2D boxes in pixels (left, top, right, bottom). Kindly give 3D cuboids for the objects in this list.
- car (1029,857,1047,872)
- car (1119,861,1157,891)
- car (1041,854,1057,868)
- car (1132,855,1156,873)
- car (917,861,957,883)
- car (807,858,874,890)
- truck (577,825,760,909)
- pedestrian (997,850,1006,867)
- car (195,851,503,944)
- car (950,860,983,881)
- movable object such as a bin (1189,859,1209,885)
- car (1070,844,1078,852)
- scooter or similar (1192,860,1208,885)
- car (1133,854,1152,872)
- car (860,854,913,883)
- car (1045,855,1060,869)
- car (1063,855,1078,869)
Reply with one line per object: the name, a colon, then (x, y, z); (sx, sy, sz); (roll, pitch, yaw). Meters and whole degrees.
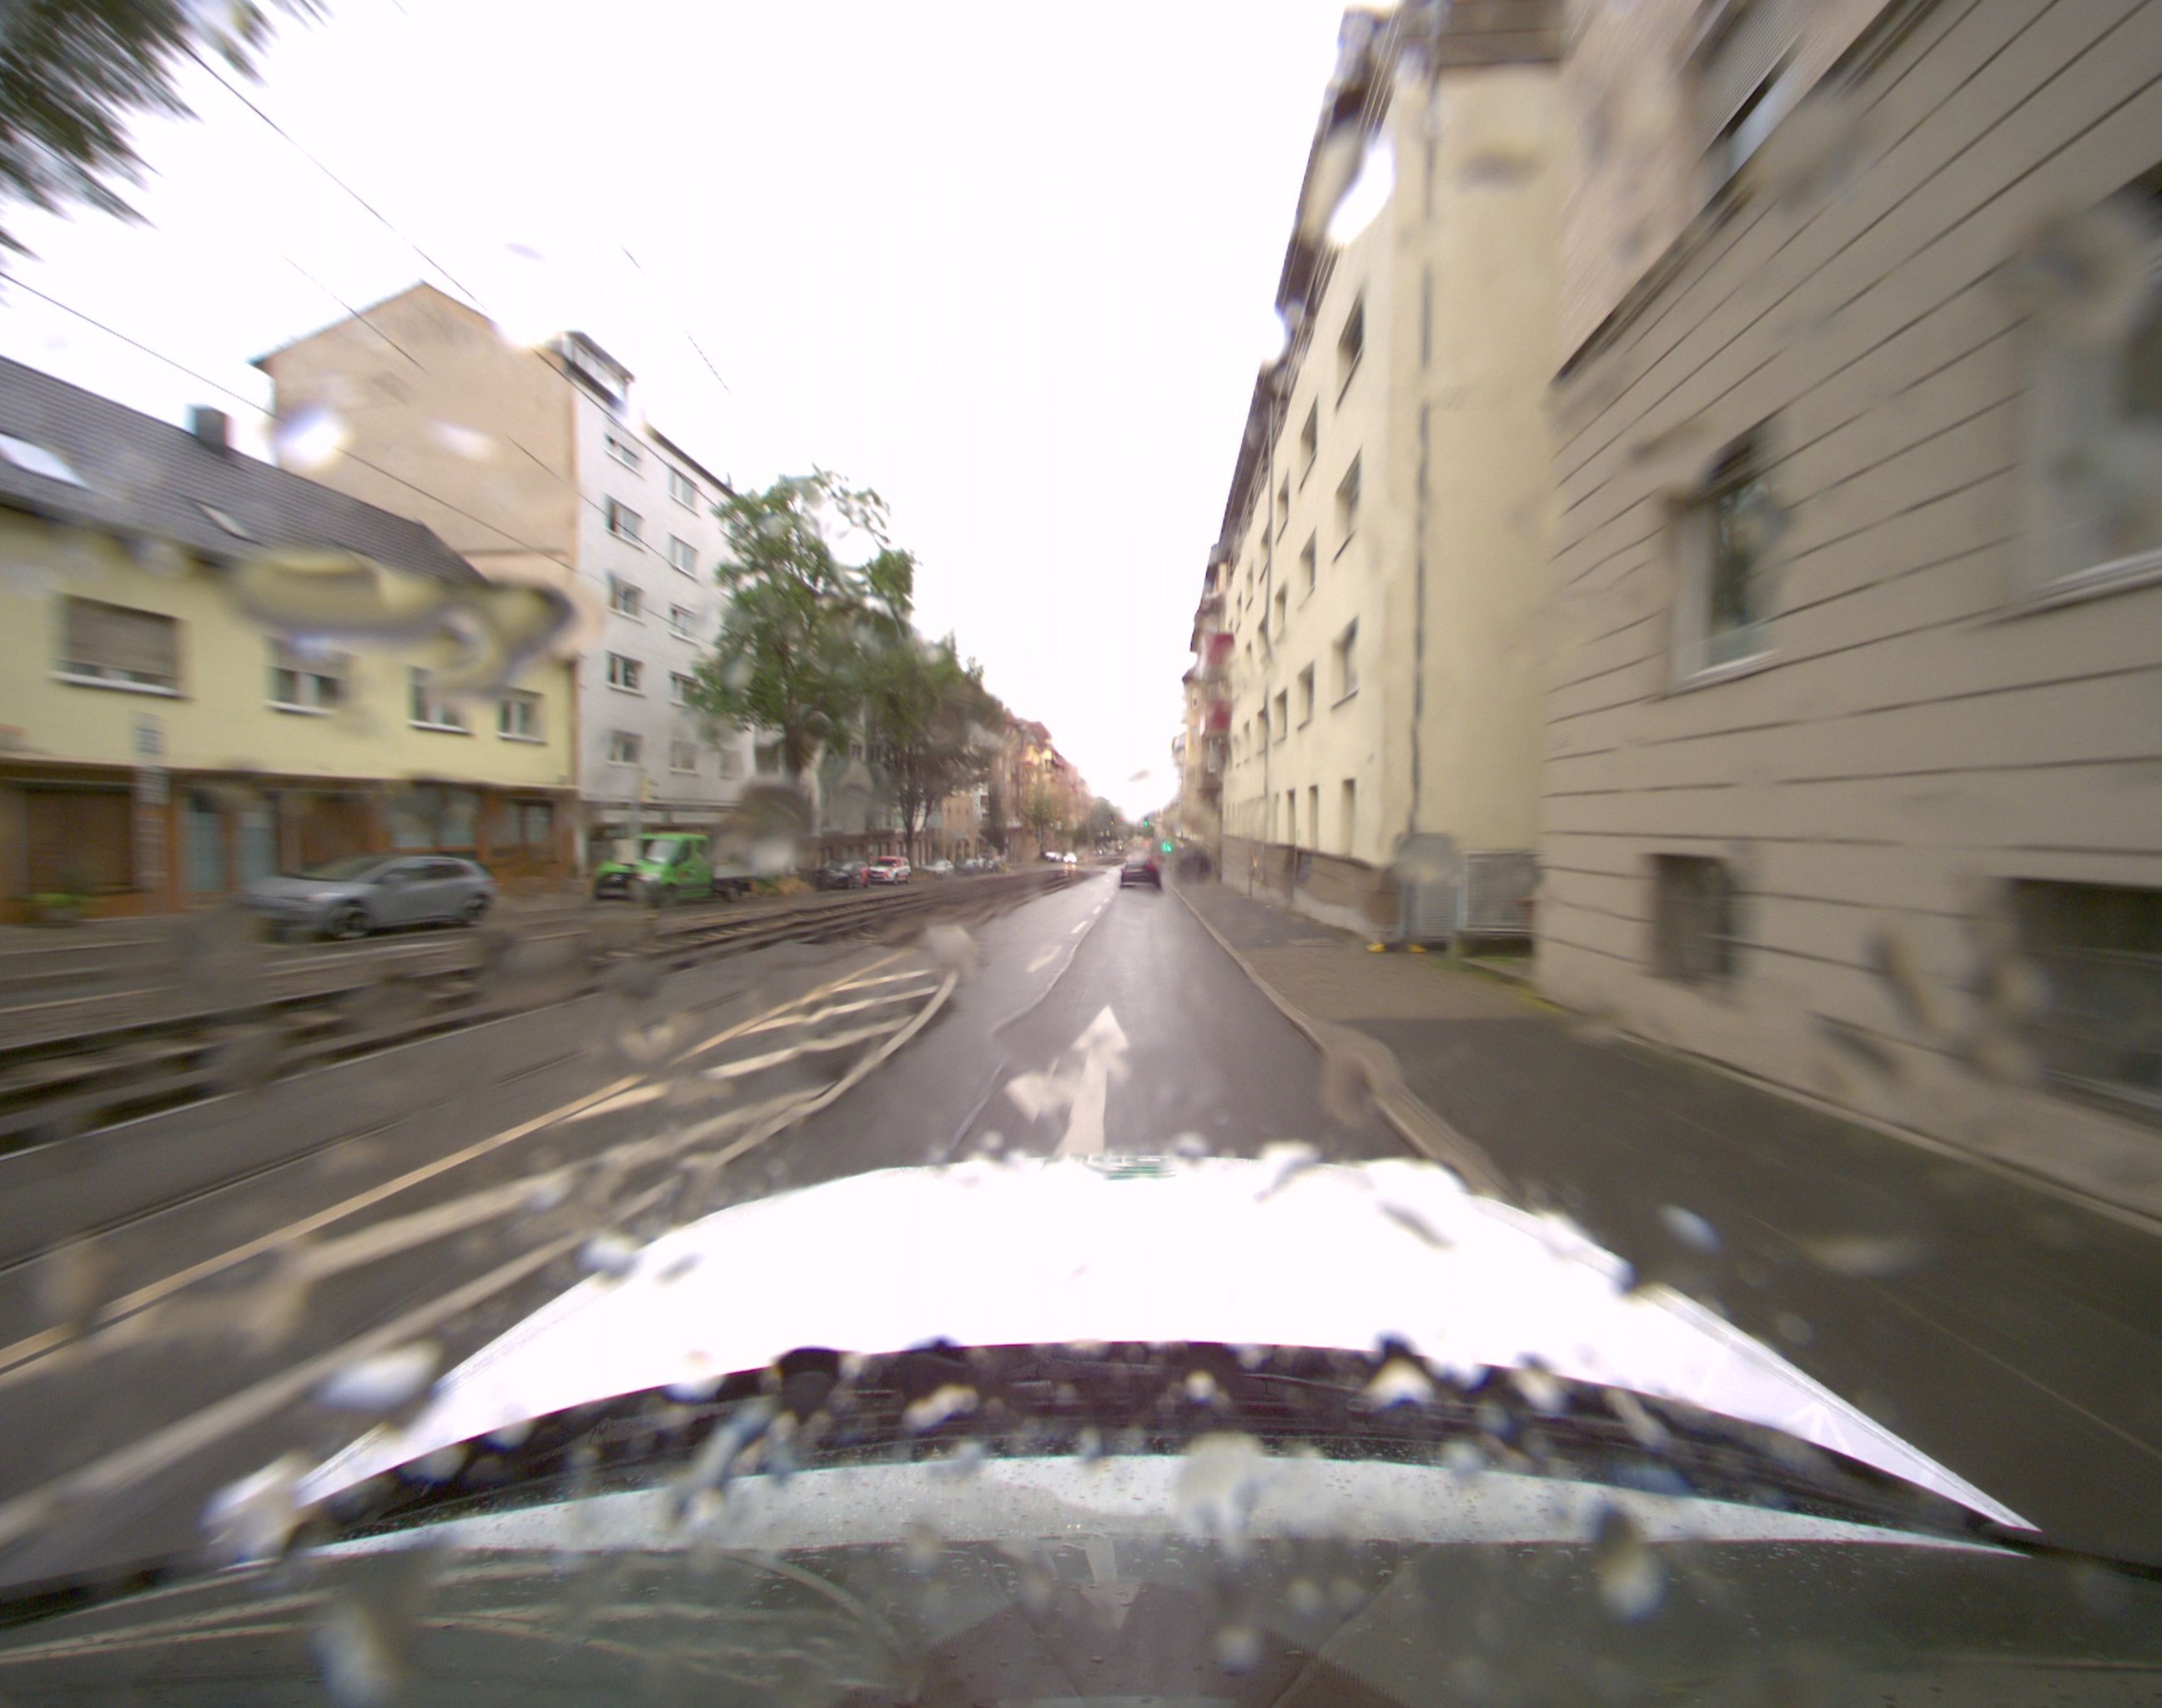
car: (-5.930, 1.492, 113.573); (1.985, 2.014, 4.349); (-1, -2, 3)
car: (2.907, 1.084, 41.994); (1.844, 1.473, 4.003); (0, 0, 3)
car: (-4.826, 1.147, 123.573); (1.985, 2.014, 4.349); (-1, -2, 3)
car: (5.171, 0.847, 67.231); (1.844, 1.473, 4.002); (1, -1, 2)
car: (-10.327, 1.285, 58.817); (1.765, 1.488, 4.260); (-2, -1, 5)
car: (-11.798, 0.959, 40.173); (1.765, 1.453, 4.259); (-2, -1, 4)
truck: (-12.970, 0.424, 26.290); (2.040, 2.393, 6.333); (0, -1, 7)
pedestrian: (-9.308, 0.550, 95.484); (0.868, 2.014, 0.705); (-1, -2, 2)
car: (-14.124, 0.745, 16.168); (1.718, 1.515, 4.502); (2, 0, 5)
car: (-9.459, 1.361, 67.476); (1.765, 1.619, 4.260); (-2, -1, 5)
movable object such as a bin: (7.920, 1.199, 54.713); (1.164, 1.655, 1.309); (-1, -1, 0)
car: (-1.809, -1.619, 208.161); (1.985, 2.014, 4.003); (0, 0, 3)
scooter or similar: (7.750, 1.194, 53.210); (0.915, 1.604, 0.862); (0, -1, 0)
car: (6.538, 0.956, 86.798); (1.941, 1.793, 4.146); (1, -1, 2)
car: (-11.239, 0.835, 47.409); (1.765, 1.546, 4.259); (-2, -1, 4)
car: (-4.460, 1.265, 128.608); (1.985, 2.014, 4.349); (-1, -2, 3)
car: (-1.613, 1.240, 124.446); (1.985, 2.014, 4.350); (0, 0, 3)
